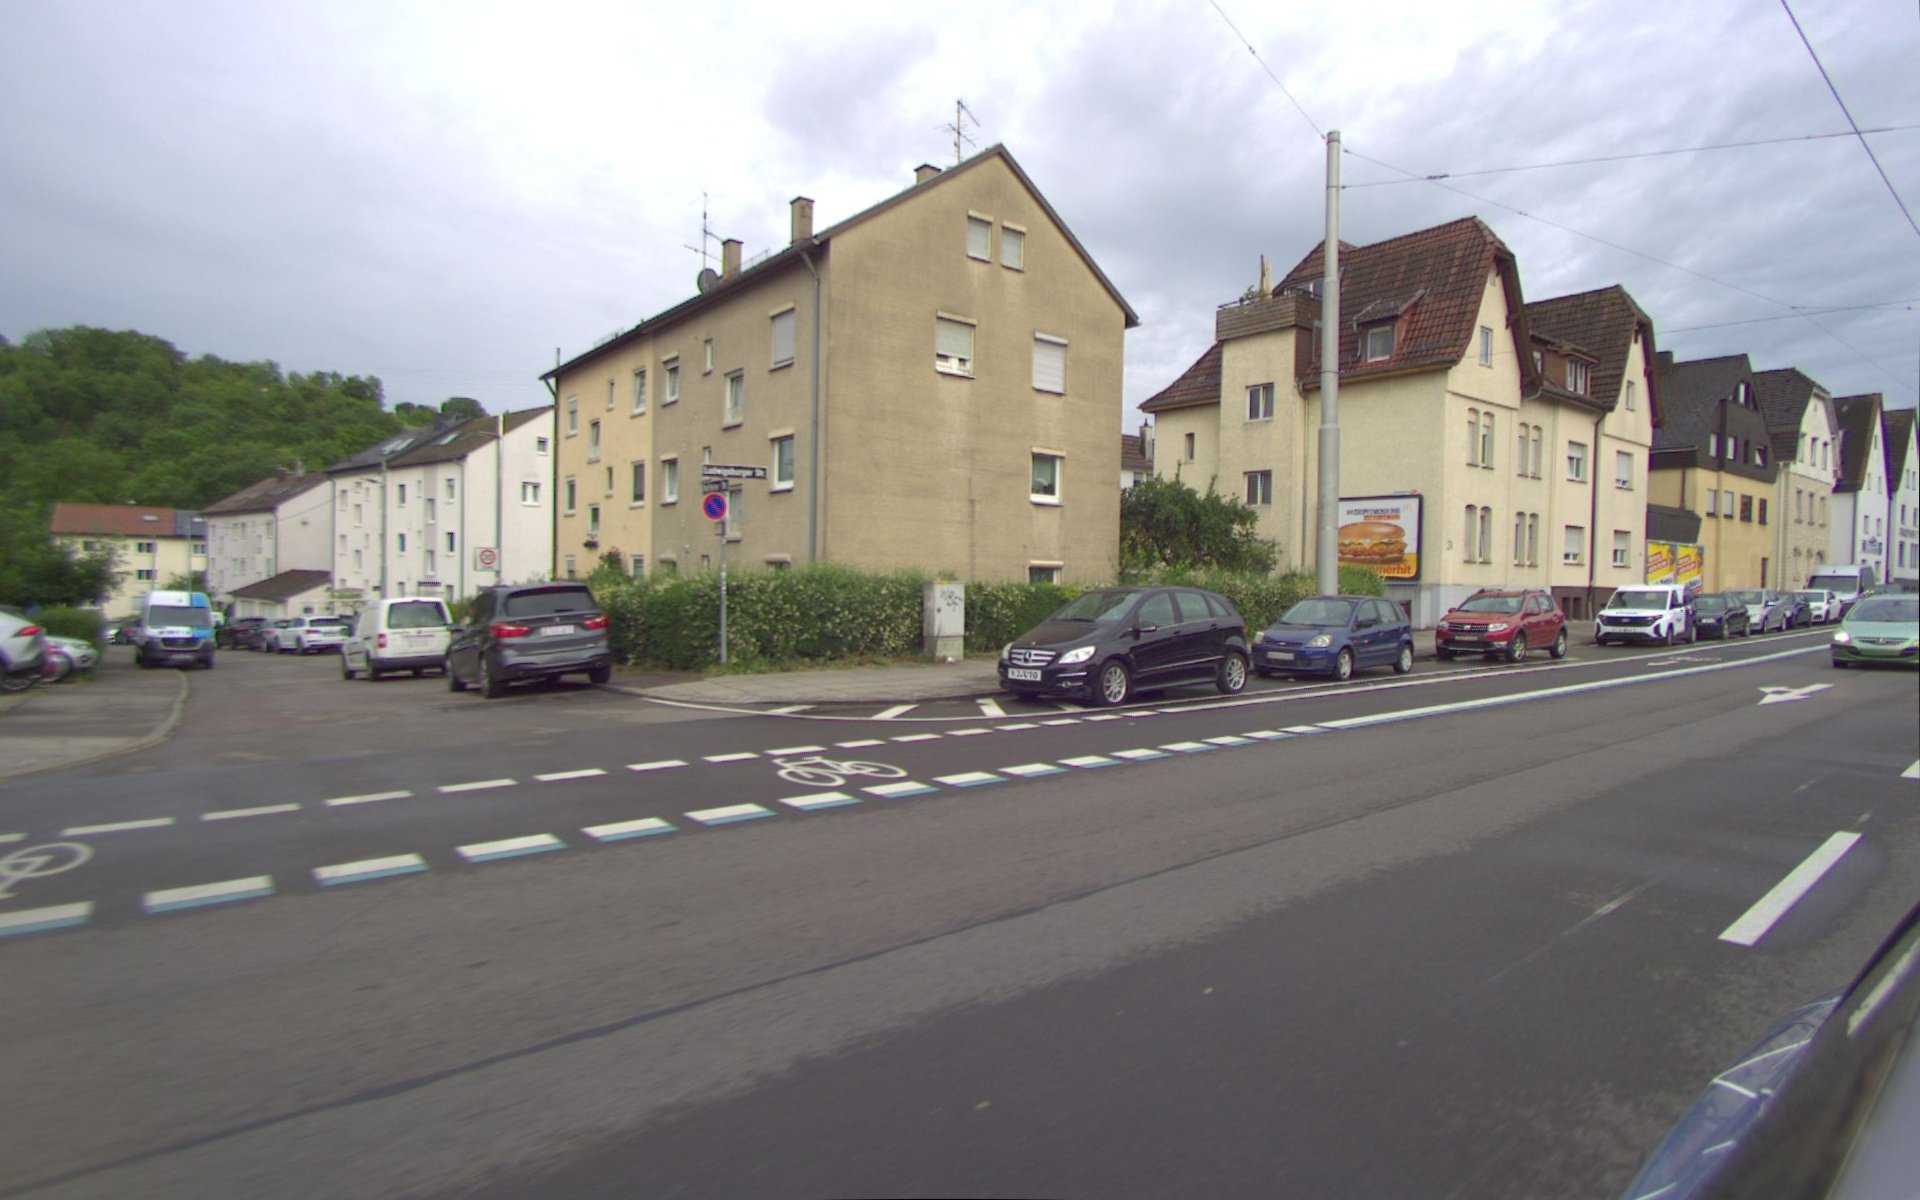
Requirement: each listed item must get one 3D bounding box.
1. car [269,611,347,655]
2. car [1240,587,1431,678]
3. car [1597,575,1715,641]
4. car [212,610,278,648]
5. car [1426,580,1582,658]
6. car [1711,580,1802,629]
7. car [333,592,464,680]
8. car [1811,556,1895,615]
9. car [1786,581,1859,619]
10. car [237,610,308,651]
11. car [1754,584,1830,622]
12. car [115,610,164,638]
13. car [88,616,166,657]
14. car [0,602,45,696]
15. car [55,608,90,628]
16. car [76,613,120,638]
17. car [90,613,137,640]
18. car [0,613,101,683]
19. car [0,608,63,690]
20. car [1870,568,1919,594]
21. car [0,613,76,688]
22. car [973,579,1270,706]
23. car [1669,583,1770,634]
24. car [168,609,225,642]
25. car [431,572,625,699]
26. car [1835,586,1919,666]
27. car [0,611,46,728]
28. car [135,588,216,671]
[{"bbox_3d":[-28.051,1.368,43.464,4.224,1.705,1.805,1,1,42],"label":"car"},{"bbox_3d":[6.870,0.508,18.351,3.862,1.462,1.669,-1,1,-42],"label":"car"},{"bbox_3d":[20.243,0.187,29.362,4.445,1.779,1.850,-1,1,-42],"label":"car"},{"bbox_3d":[-35.307,1.385,49.914,4.224,1.705,1.805,1,1,42],"label":"car"},{"bbox_3d":[12.528,0.368,23.205,4.028,1.648,1.840,-1,1,-41],"label":"car"},{"bbox_3d":[28.639,0.119,36.353,4.206,1.586,1.705,-2,1,-39],"label":"car"},{"bbox_3d":[-13.236,0.805,23.728,1.847,1.817,4.280,-2,0,-41],"label":"car"},{"bbox_3d":[40.753,-0.719,46.146,5.817,2.530,2.044,-2,1,-40],"label":"car"},{"bbox_3d":[36.384,-0.032,42.658,4.126,1.483,1.604,-1,1,-39],"label":"car"},{"bbox_3d":[-31.946,1.372,46.977,4.224,1.705,1.805,1,1,42],"label":"car"},{"bbox_3d":[32.675,0.089,39.722,3.724,1.419,1.604,-1,1,-39],"label":"car"},{"bbox_3d":[-54.414,1.537,67.108,4.221,1.705,1.806,1,1,40],"label":"car"},{"bbox_3d":[-38.952,1.664,47.308,4.385,1.734,2.108,1,1,41],"label":"car"},{"bbox_3d":[-18.387,0.846,17.373,3.933,1.624,1.754,1,0,-44],"label":"car"},{"bbox_3d":[-78.851,1.567,89.895,4.221,1.705,1.806,1,1,40],"label":"car"},{"bbox_3d":[-63.289,1.832,74.275,4.221,1.705,1.806,1,1,40],"label":"car"},{"bbox_3d":[-58.807,1.793,70.306,4.221,1.705,1.806,1,1,40],"label":"car"},{"bbox_3d":[-23.280,1.127,24.300,3.933,1.604,1.754,2,-1,-44],"label":"car"},{"bbox_3d":[-20.086,0.937,19.635,3.933,1.558,1.754,2,-1,-44],"label":"car"},{"bbox_3d":[50.650,-1.036,54.652,4.128,1.362,1.725,-2,1,-41],"label":"car"},{"bbox_3d":[-21.576,1.066,21.640,3.933,1.558,1.754,2,-1,-44],"label":"car"},{"bbox_3d":[2.413,0.503,14.445,4.362,1.553,1.840,0,0,-41],"label":"car"},{"bbox_3d":[24.563,0.230,32.696,4.063,1.530,1.690,-1,1,-39],"label":"car"},{"bbox_3d":[-42.322,1.383,56.069,4.224,1.705,1.805,1,1,42],"label":"car"},{"bbox_3d":[-6.890,0.511,15.876,1.845,1.676,4.285,-2,0,-36],"label":"car"},{"bbox_3d":[19.849,0.474,21.081,4.128,1.467,1.886,-2,1,-41],"label":"car"},{"bbox_3d":[-14.350,1.143,12.294,4.650,1.406,1.756,-9,6,-40],"label":"car"},{"bbox_3d":[-27.300,0.916,35.143,2.101,2.639,5.265,0,1,-39],"label":"car"}]
